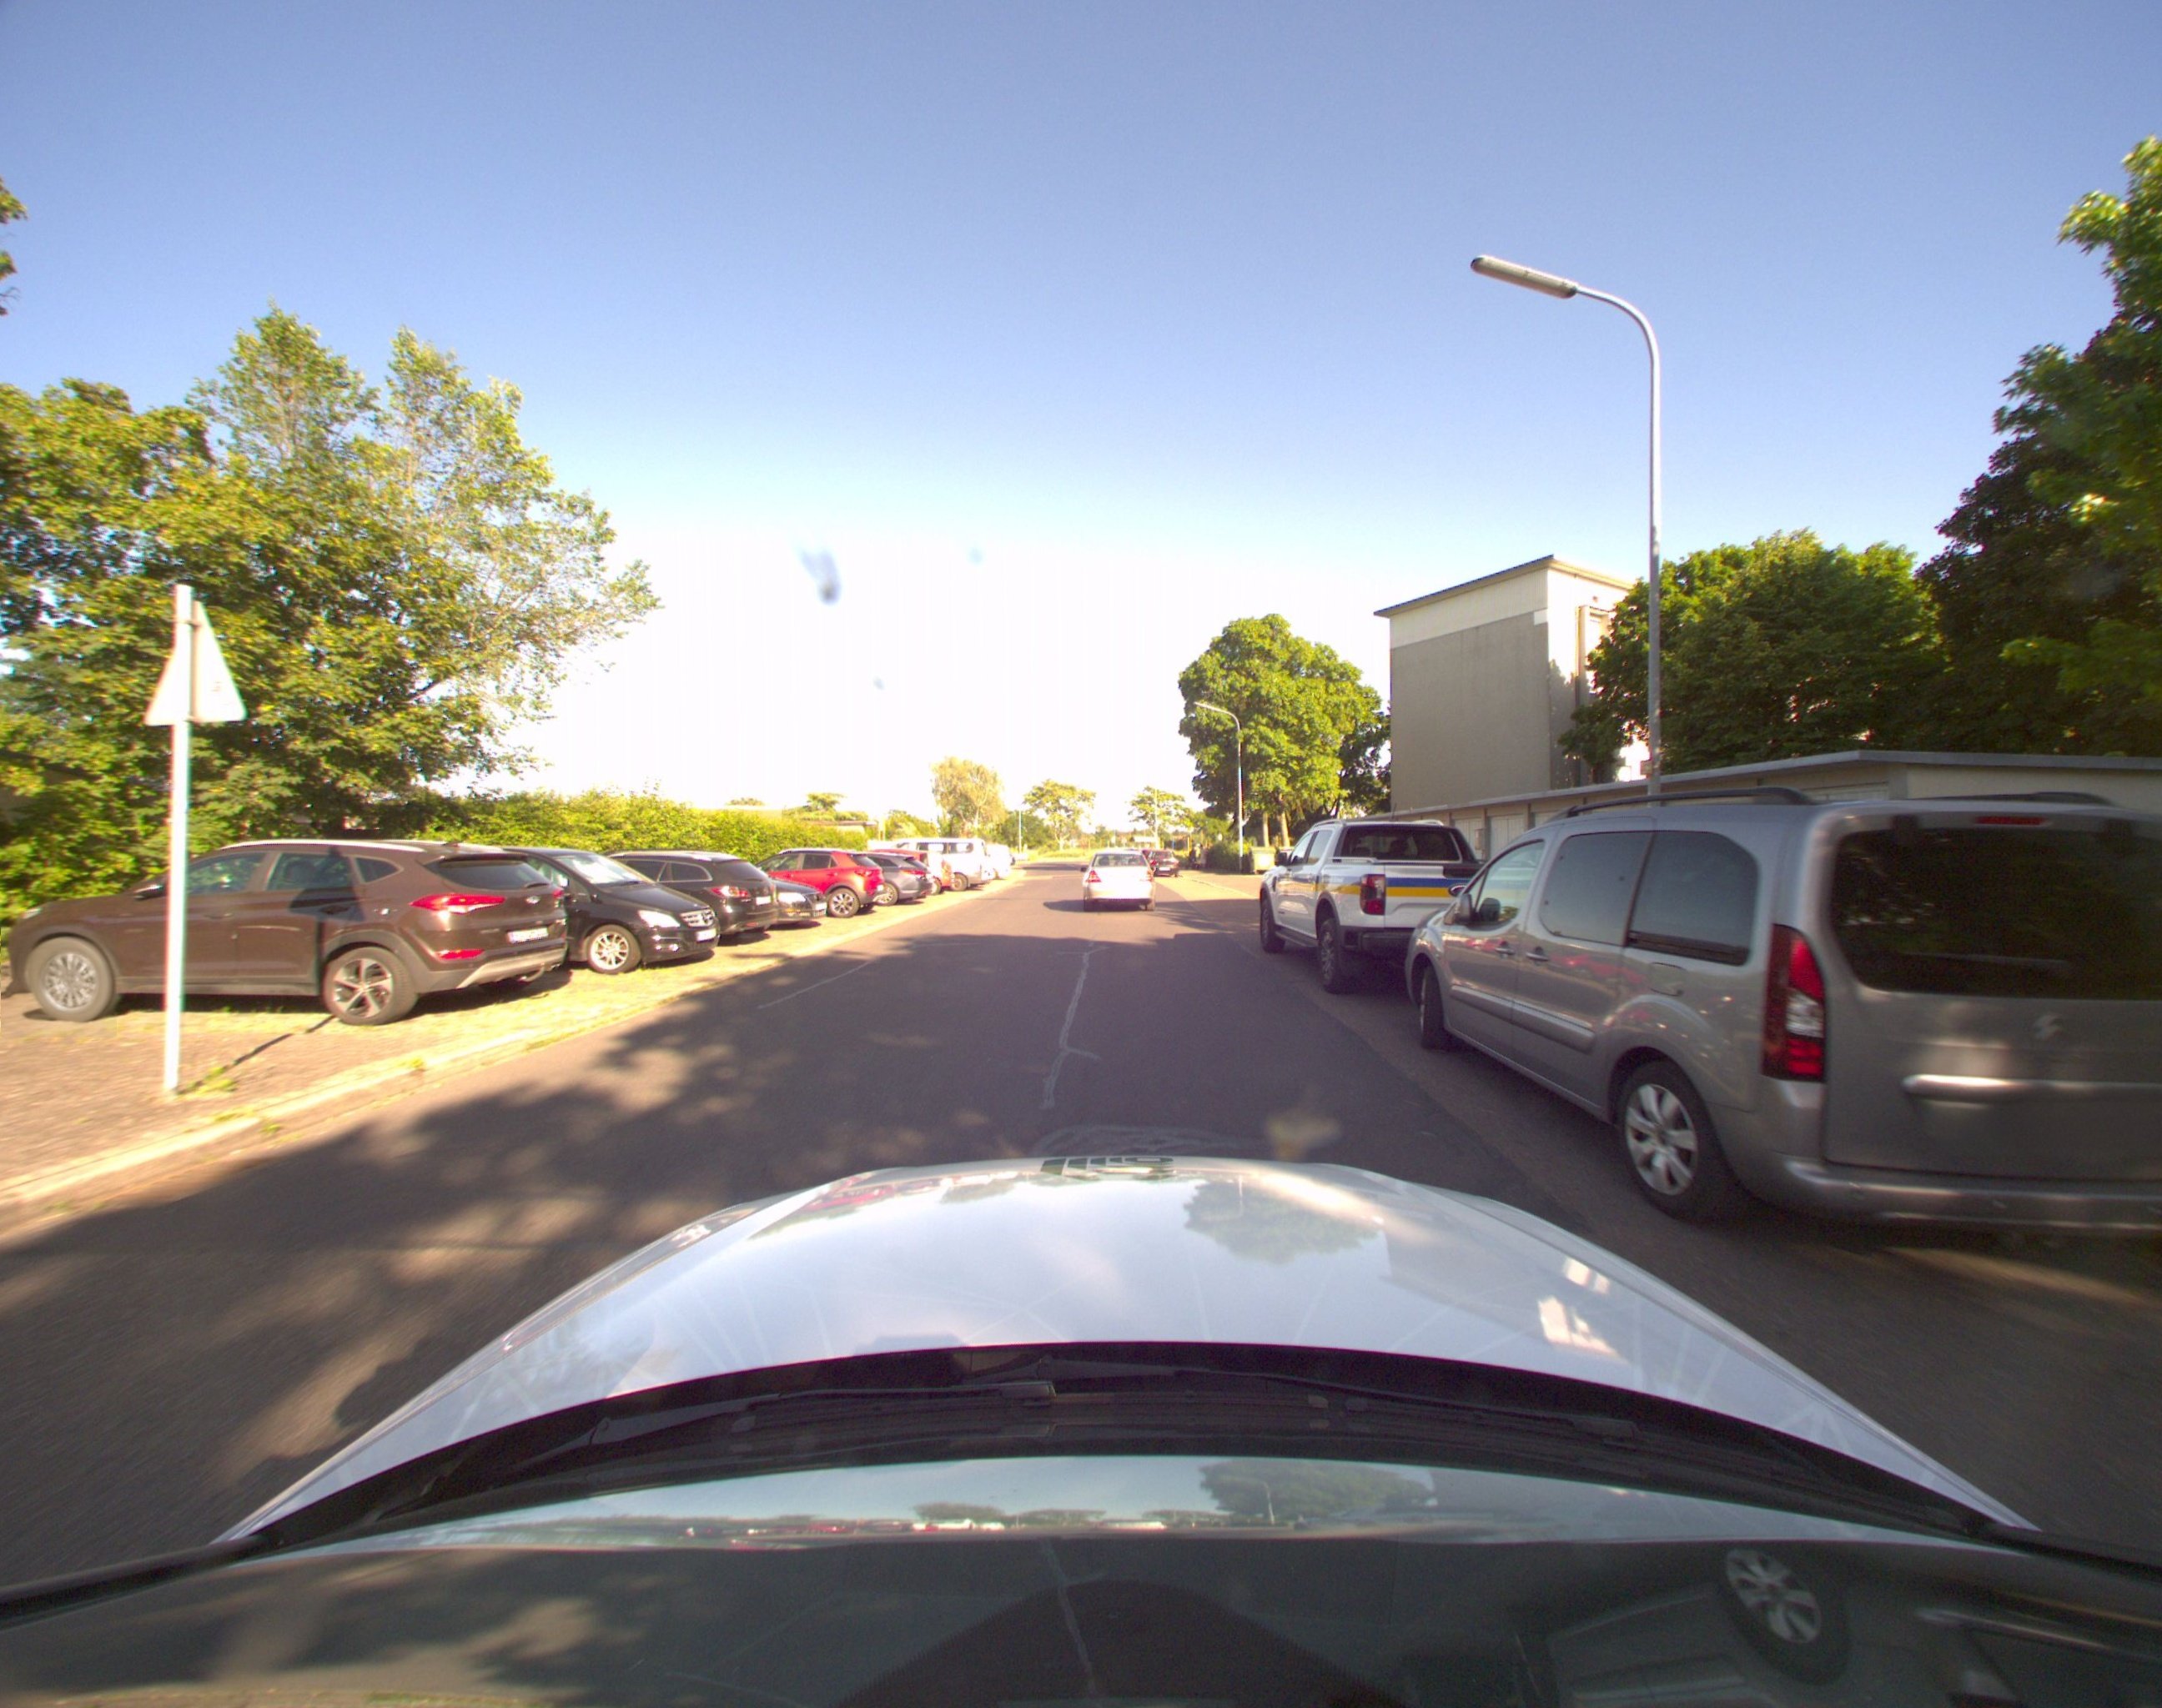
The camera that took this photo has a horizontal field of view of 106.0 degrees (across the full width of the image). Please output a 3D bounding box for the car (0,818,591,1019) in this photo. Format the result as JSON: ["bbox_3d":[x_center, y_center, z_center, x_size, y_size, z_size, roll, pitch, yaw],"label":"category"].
[{"bbox_3d":[-7.532,0.569,8.043,4.174,1.656,1.846,2,0,-1],"label":"car"}]

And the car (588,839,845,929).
[{"bbox_3d":[-6.841,0.552,15.632,4.006,1.512,1.905,2,0,0],"label":"car"}]

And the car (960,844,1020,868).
[{"bbox_3d":[-7.494,0.155,67.400,4.867,1.915,1.995,0,0,-8],"label":"car"}]

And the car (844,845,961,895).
[{"bbox_3d":[-6.126,0.536,28.228,3.588,1.567,1.853,2,1,1],"label":"car"}]

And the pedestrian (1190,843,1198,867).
[{"bbox_3d":[7.370,0.053,53.187,0.478,1.564,0.598,-2,-1,8],"label":"pedestrian"}]

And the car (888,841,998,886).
[{"bbox_3d":[-5.670,0.390,33.846,4.136,1.706,1.884,2,0,1],"label":"car"}]

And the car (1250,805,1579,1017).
[{"bbox_3d":[3.508,0.464,9.884,1.900,1.840,5.276,2,1,1],"label":"car"}]

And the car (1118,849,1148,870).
[{"bbox_3d":[3.887,0.403,61.587,1.728,1.543,3.782,0,0,-4],"label":"car"}]

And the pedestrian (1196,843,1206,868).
[{"bbox_3d":[7.666,0.083,52.057,0.485,1.564,0.468,-2,-1,-7],"label":"pedestrian"}]

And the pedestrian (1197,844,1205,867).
[{"bbox_3d":[7.885,0.097,53.629,0.361,1.503,0.500,-2,-1,-5],"label":"pedestrian"}]

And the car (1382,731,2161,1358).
[{"bbox_3d":[3.371,0.519,4.612,1.826,1.791,4.559,2,1,3],"label":"car"}]

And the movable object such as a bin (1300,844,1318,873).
[{"bbox_3d":[11.531,0.230,41.218,0.721,1.416,0.688,0,-1,-1],"label":"movable object such as a bin"}]

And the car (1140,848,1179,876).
[{"bbox_3d":[4.219,0.412,44.028,1.643,1.403,3.879,-1,0,-1],"label":"car"}]

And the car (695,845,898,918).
[{"bbox_3d":[-6.451,0.591,18.778,3.972,1.479,1.791,2,1,1],"label":"car"}]

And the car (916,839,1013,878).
[{"bbox_3d":[-6.084,0.237,42.922,4.776,1.921,2.080,2,0,-2],"label":"car"}]

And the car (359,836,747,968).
[{"bbox_3d":[-6.924,0.603,11.023,3.974,1.532,1.831,2,0,0],"label":"car"}]

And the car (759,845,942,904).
[{"bbox_3d":[-6.344,0.538,22.739,4.527,1.479,1.748,2,1,1],"label":"car"}]

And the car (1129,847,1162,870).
[{"bbox_3d":[4.045,0.283,51.610,1.572,1.446,3.782,0,0,-4],"label":"car"}]

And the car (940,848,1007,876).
[{"bbox_3d":[-6.038,0.449,45.907,3.503,1.446,1.636,2,0,-1],"label":"car"}]

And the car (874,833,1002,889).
[{"bbox_3d":[-5.429,0.271,31.332,4.464,1.977,2.000,2,-1,0],"label":"car"}]

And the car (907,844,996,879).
[{"bbox_3d":[-6.348,0.388,40.264,3.973,1.582,1.884,2,0,1],"label":"car"}]

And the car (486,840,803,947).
[{"bbox_3d":[-6.908,0.598,13.225,4.079,1.512,1.812,2,0,0],"label":"car"}]

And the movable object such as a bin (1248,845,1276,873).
[{"bbox_3d":[9.199,0.242,41.394,1.234,1.403,0.914,0,-1,-1],"label":"movable object such as a bin"}]

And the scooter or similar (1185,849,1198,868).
[{"bbox_3d":[7.071,0.274,52.114,0.621,1.227,0.904,-1,0,-3],"label":"scooter or similar"}]

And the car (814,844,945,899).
[{"bbox_3d":[-6.302,0.532,25.725,3.588,1.567,1.882,2,1,1],"label":"car"}]

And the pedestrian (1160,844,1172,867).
[{"bbox_3d":[5.938,0.127,56.922,0.785,1.564,0.569,2,-1,-3],"label":"pedestrian"}]

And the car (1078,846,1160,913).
[{"bbox_3d":[0.863,0.545,20.385,1.810,1.463,4.361,1,1,0],"label":"car"}]

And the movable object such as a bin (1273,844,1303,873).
[{"bbox_3d":[10.510,0.227,41.409,1.270,1.416,0.951,0,-1,-1],"label":"movable object such as a bin"}]

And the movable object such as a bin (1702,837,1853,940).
[{"bbox_3d":[9.612,0.463,11.310,1.241,1.347,1.056,0,-1,13],"label":"movable object such as a bin"}]

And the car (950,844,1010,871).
[{"bbox_3d":[-6.830,0.256,55.586,3.972,1.780,1.922,1,1,-6],"label":"car"}]
